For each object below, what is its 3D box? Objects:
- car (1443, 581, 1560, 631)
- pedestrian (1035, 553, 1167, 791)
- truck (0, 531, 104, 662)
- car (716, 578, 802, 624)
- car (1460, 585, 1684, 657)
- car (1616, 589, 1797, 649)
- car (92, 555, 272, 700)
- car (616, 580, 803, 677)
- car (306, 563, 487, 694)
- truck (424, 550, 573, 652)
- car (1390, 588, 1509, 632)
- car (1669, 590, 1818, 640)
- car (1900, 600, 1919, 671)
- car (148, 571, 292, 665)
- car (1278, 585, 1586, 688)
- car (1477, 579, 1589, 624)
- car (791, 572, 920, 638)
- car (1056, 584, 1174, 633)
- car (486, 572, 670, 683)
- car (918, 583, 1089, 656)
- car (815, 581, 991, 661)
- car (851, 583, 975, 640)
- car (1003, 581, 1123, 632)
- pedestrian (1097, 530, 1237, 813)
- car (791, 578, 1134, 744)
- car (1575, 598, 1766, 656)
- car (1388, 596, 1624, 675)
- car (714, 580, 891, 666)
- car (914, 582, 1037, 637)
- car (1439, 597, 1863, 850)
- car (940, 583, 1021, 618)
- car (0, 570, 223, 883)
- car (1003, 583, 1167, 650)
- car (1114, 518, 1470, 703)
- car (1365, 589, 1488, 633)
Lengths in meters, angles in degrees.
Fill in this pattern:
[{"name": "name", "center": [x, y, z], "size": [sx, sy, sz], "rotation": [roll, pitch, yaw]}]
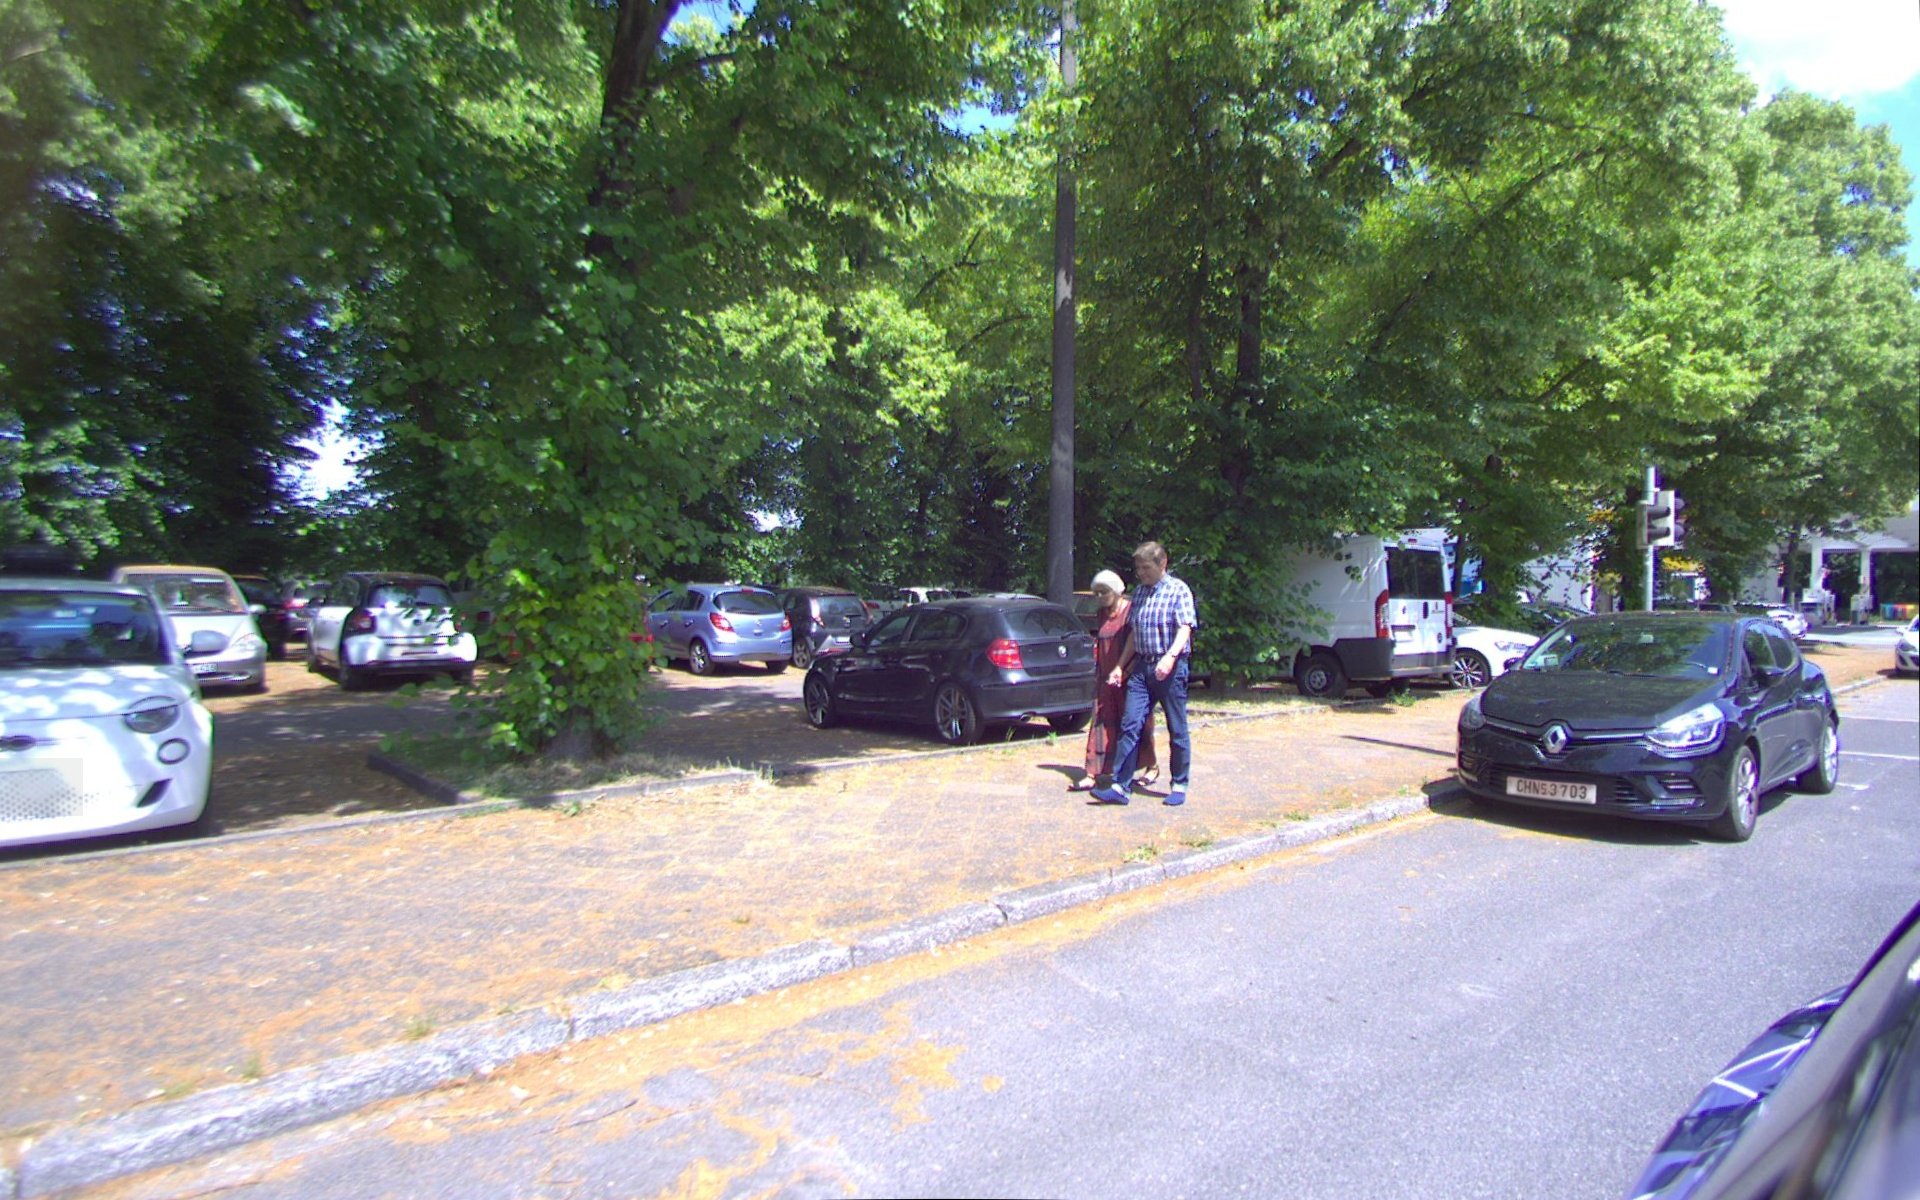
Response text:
[{"name": "car", "center": [22.013, 0.197, 41.197], "size": [1.901, 1.874, 3.801], "rotation": [0, 1, -44]}, {"name": "pedestrian", "center": [1.024, 0.487, 7.338], "size": [0.724, 1.613, 0.618], "rotation": [0, -1, -41]}, {"name": "truck", "center": [-15.090, -0.085, 16.392], "size": [1.706, 1.905, 3.807], "rotation": [0, 1, -38]}, {"name": "car", "center": [-7.464, -0.006, 37.335], "size": [1.705, 1.587, 3.810], "rotation": [0, 1, -36]}, {"name": "car", "center": [13.842, 0.442, 23.078], "size": [1.608, 1.513, 4.074], "rotation": [0, 0, -41]}, {"name": "car", "center": [20.835, 0.503, 28.397], "size": [1.597, 1.555, 3.773], "rotation": [0, 0, -29]}, {"name": "car", "center": [-10.589, 0.256, 13.664], "size": [1.652, 1.661, 3.993], "rotation": [0, 1, -42]}, {"name": "car", "center": [-4.575, 0.414, 18.096], "size": [1.772, 1.491, 3.997], "rotation": [0, 1, -38]}, {"name": "car", "center": [-8.519, 0.314, 15.128], "size": [1.772, 1.682, 3.997], "rotation": [0, 1, -38]}, {"name": "truck", "center": [-9.375, -0.022, 20.387], "size": [1.844, 1.837, 4.132], "rotation": [0, 1, -37]}, {"name": "car", "center": [18.942, 0.342, 39.259], "size": [1.709, 1.603, 3.800], "rotation": [0, 1, -44]}, {"name": "car", "center": [26.350, 0.462, 34.114], "size": [1.823, 1.546, 3.756], "rotation": [0, 1, -43]}, {"name": "car", "center": [21.594, 0.727, 21.569], "size": [4.037, 1.461, 1.720], "rotation": [0, -1, -39]}, {"name": "car", "center": [-13.230, 0.248, 18.013], "size": [1.708, 1.478, 3.803], "rotation": [0, 1, -42]}, {"name": "car", "center": [7.770, 0.583, 17.009], "size": [1.777, 1.513, 4.331], "rotation": [0, -2, -41]}, {"name": "car", "center": [27.542, 0.051, 48.742], "size": [1.824, 2.022, 4.367], "rotation": [0, 1, -44]}, {"name": "car", "center": [-2.859, 0.082, 27.184], "size": [1.706, 1.608, 3.809], "rotation": [0, 1, -37]}, {"name": "car", "center": [5.153, 0.251, 34.047], "size": [1.706, 1.483, 3.808], "rotation": [0, 1, -37]}, {"name": "car", "center": [-6.473, 0.361, 16.899], "size": [1.772, 1.606, 3.997], "rotation": [0, 1, -38]}, {"name": "car", "center": [0.913, 0.373, 23.346], "size": [1.772, 1.491, 3.997], "rotation": [0, 1, -38]}, {"name": "car", "center": [-1.296, 0.371, 21.437], "size": [1.772, 1.491, 3.997], "rotation": [0, 1, -38]}, {"name": "car", "center": [-1.406, 0.282, 29.137], "size": [1.706, 1.483, 3.809], "rotation": [0, 1, -37]}, {"name": "car", "center": [3.238, 0.178, 32.460], "size": [1.706, 1.483, 3.809], "rotation": [0, 1, -37]}, {"name": "pedestrian", "center": [1.404, 0.447, 6.870], "size": [0.724, 1.787, 0.618], "rotation": [0, -1, -41]}, {"name": "car", "center": [-0.156, 0.581, 11.199], "size": [1.686, 1.492, 3.996], "rotation": [0, -1, -38]}, {"name": "car", "center": [18.050, 0.639, 25.812], "size": [3.833, 1.375, 1.605], "rotation": [0, 0, 42]}, {"name": "car", "center": [11.442, 0.728, 21.432], "size": [1.608, 1.513, 4.073], "rotation": [0, -1, -41]}, {"name": "car", "center": [-3.239, 0.383, 20.176], "size": [1.772, 1.491, 3.997], "rotation": [0, 1, -38]}, {"name": "car", "center": [0.415, 0.243, 30.428], "size": [1.706, 1.511, 3.808], "rotation": [0, 1, -37]}, {"name": "car", "center": [5.377, 0.705, 7.692], "size": [3.929, 1.446, 1.666], "rotation": [0, 0, -40]}, {"name": "car", "center": [0.849, 0.003, 44.464], "size": [1.704, 1.429, 3.812], "rotation": [0, 1, -34]}, {"name": "car", "center": [-5.674, 0.573, 6.225], "size": [1.638, 1.446, 3.996], "rotation": [0, 0, -39]}, {"name": "car", "center": [3.046, 0.346, 25.312], "size": [1.772, 1.491, 3.997], "rotation": [0, 1, -38]}, {"name": "car", "center": [4.724, 0.179, 15.012], "size": [2.068, 2.305, 4.611], "rotation": [0, -2, -39]}, {"name": "car", "center": [17.258, 0.380, 37.541], "size": [1.709, 1.483, 3.801], "rotation": [0, 1, -44]}]
